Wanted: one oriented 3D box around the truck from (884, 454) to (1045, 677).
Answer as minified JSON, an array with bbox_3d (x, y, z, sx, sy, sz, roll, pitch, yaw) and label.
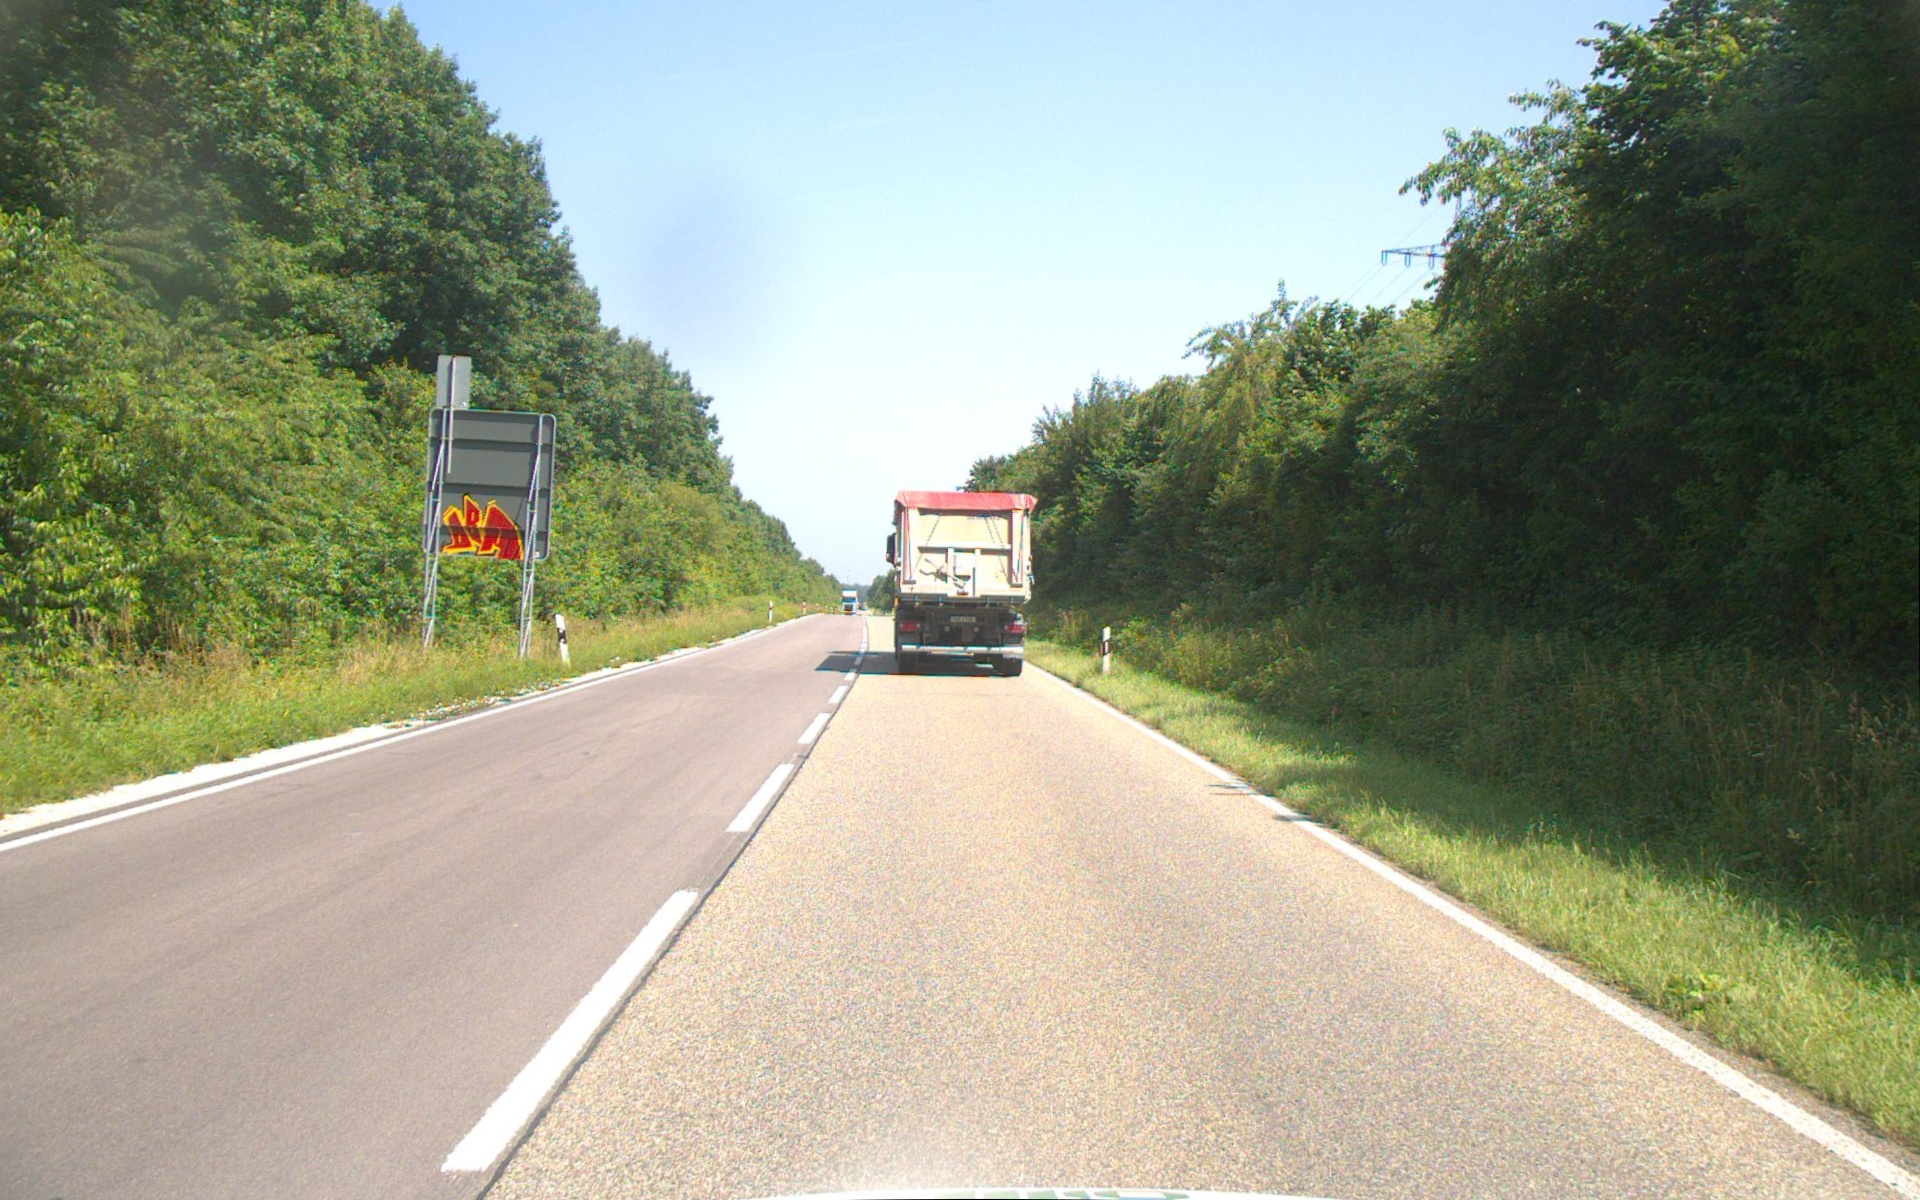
[{"bbox_3d":[-0.194,-0.656,36.233,2.835,4.031,11.925,1,0,-3],"label":"truck"}]
